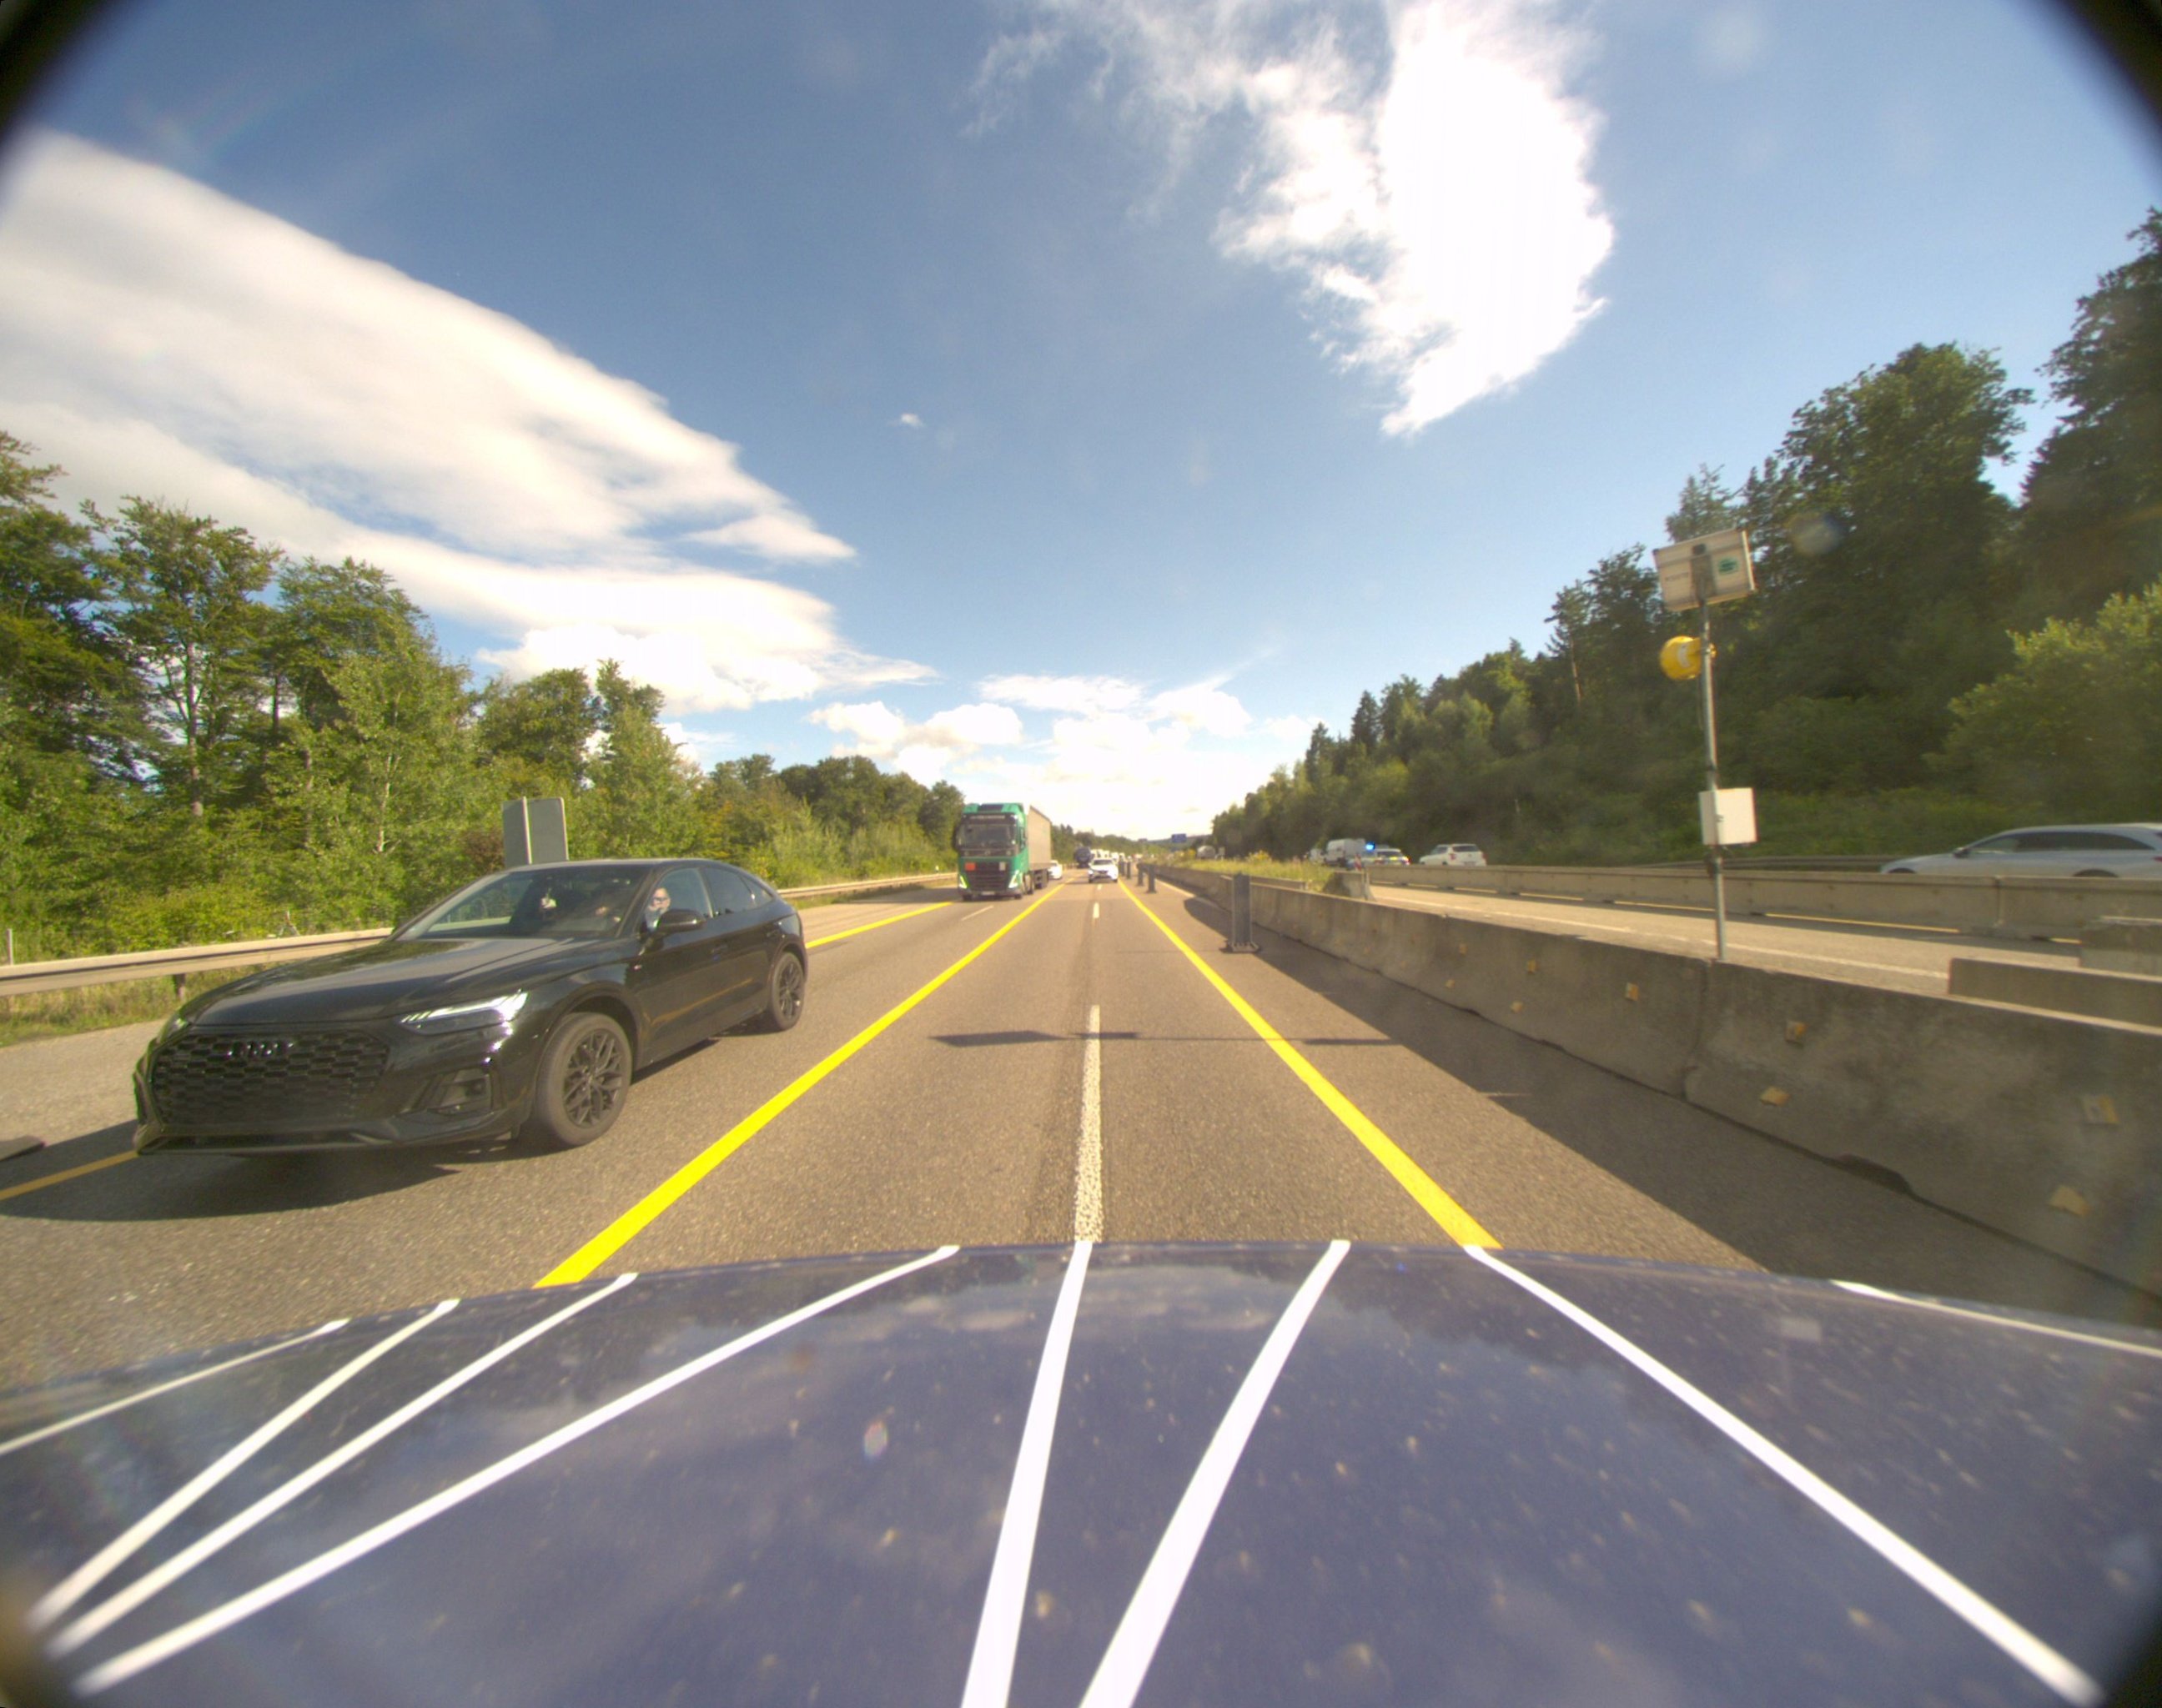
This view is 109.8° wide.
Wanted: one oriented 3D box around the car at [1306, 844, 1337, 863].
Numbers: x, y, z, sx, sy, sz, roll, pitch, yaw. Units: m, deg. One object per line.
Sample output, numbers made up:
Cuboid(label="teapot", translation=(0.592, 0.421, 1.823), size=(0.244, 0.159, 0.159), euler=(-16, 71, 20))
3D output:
Cuboid(label="car", translation=(25.023, -0.046, 79.127), size=(1.865, 1.843, 4.762), euler=(-2, 0, 3))

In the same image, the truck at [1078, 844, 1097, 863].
Cuboid(label="truck", translation=(1.187, -0.142, 133.328), size=(2.576, 3.167, 6.804), euler=(-2, 0, 5))

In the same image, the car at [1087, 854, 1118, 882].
Cuboid(label="car", translation=(1.373, 0.823, 47.616), size=(1.782, 1.593, 4.018), euler=(-2, 0, 3))

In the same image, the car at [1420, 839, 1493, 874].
Cuboid(label="car", translation=(18.546, 0.119, 37.711), size=(1.782, 1.593, 4.018), euler=(-2, 0, 3))

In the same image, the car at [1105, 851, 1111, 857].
Cuboid(label="car", translation=(7.804, 0.066, 221.342), size=(1.750, 1.787, 4.000), euler=(-2, 0, 2))

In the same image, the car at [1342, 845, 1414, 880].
Cuboid(label="car", translation=(14.823, 0.384, 38.198), size=(1.782, 1.593, 4.676), euler=(-2, 0, 0))

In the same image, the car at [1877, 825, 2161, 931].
Cuboid(label="car", translation=(17.495, 0.336, 13.565), size=(1.782, 1.593, 4.677), euler=(-2, 0, 3))

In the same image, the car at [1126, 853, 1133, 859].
Cuboid(label="car", translation=(15.372, 0.605, 241.982), size=(1.998, 2.002, 4.001), euler=(-2, 0, 5))

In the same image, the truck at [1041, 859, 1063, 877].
Cuboid(label="truck", translation=(-2.198, 1.039, 58.123), size=(1.467, 1.215, 3.088), euler=(-2, 0, 0))

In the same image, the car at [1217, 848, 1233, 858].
Cuboid(label="car", translation=(22.712, -0.152, 119.988), size=(1.782, 1.593, 4.018), euler=(-2, 0, 3))

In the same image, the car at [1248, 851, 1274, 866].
Cuboid(label="car", translation=(20.284, 0.498, 85.774), size=(1.963, 1.579, 4.482), euler=(-2, 0, 1))

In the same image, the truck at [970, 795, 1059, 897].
Cuboid(label="truck", translation=(-2.963, -0.284, 38.578), size=(2.470, 4.119, 14.214), euler=(-2, 0, 3))

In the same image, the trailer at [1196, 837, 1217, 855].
Cuboid(label="trailer", translation=(24.967, -1.563, 151.351), size=(2.808, 3.469, 11.114), euler=(-2, 0, 3))

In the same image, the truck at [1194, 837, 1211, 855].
Cuboid(label="truck", translation=(25.265, -1.622, 157.872), size=(2.791, 3.469, 4.940), euler=(-2, 1, 3))

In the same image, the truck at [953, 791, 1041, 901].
Cuboid(label="truck", translation=(-3.346, -0.319, 32.074), size=(2.527, 4.075, 6.857), euler=(-2, 0, 3))

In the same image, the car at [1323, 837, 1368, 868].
Cuboid(label="car", translation=(23.925, -0.158, 68.950), size=(2.032, 2.669, 6.523), euler=(-2, 0, 3))

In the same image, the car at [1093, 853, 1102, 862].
Cuboid(label="car", translation=(3.626, 0.757, 163.009), size=(1.750, 1.787, 4.000), euler=(-2, 0, 2))

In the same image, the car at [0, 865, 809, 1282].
Cuboid(label="car", translation=(-3.615, 0.950, 5.306), size=(1.782, 1.593, 4.293), euler=(-2, 0, 0))
